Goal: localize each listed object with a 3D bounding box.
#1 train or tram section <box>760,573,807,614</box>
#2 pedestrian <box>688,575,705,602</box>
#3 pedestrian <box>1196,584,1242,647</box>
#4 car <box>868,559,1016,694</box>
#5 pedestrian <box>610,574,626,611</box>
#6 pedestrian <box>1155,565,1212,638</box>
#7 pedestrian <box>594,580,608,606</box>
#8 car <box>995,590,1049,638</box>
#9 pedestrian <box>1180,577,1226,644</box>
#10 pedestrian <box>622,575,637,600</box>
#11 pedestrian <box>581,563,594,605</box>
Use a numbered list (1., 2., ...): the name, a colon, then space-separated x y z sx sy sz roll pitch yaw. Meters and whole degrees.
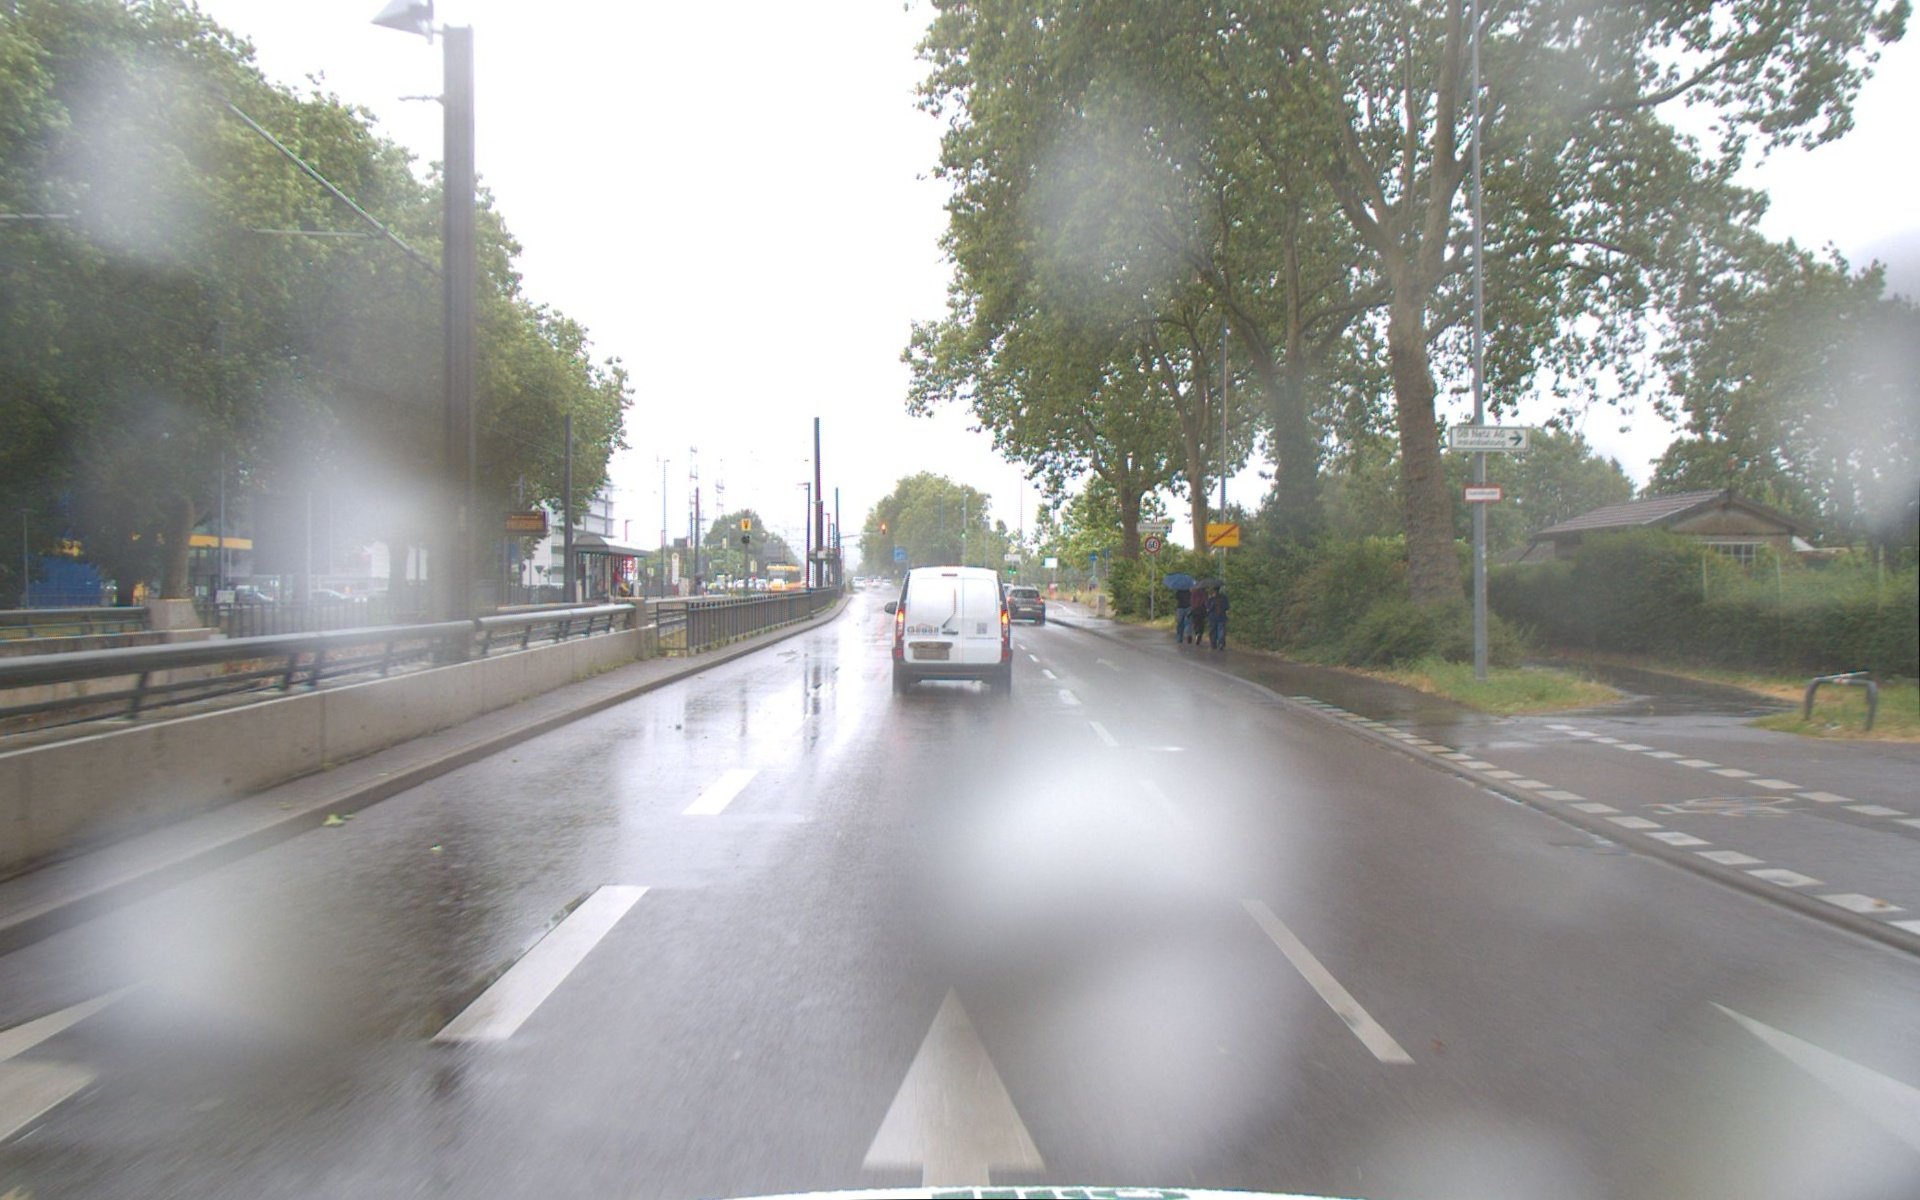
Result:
1. train or tram section: -19.814 -0.650 187.841 3.695 4.107 27.076 2 0 -3
2. pedestrian: -20.155 -0.889 126.594 1.065 2.049 1.096 2 0 1
3. pedestrian: 5.995 0.359 38.274 0.874 1.415 1.016 -1 0 -1
4. car: -0.367 0.375 25.039 1.985 1.806 4.271 2 0 -4
5. pedestrian: -18.111 -0.395 87.593 0.608 1.967 0.815 2 -1 3
6. pedestrian: 5.777 0.041 42.856 1.215 1.817 1.147 -3 0 -1
7. pedestrian: -18.116 -0.372 83.487 0.483 1.290 0.664 2 0 3
8. car: 2.437 0.561 65.965 1.953 1.780 4.000 2 0 0
9. pedestrian: 5.986 0.261 40.876 0.927 1.617 1.293 0 0 -1
10. pedestrian: -18.617 -0.699 93.190 0.629 1.326 0.815 2 0 3
11. pedestrian: -18.353 -0.765 81.462 0.483 2.049 0.582 2 -1 -4
